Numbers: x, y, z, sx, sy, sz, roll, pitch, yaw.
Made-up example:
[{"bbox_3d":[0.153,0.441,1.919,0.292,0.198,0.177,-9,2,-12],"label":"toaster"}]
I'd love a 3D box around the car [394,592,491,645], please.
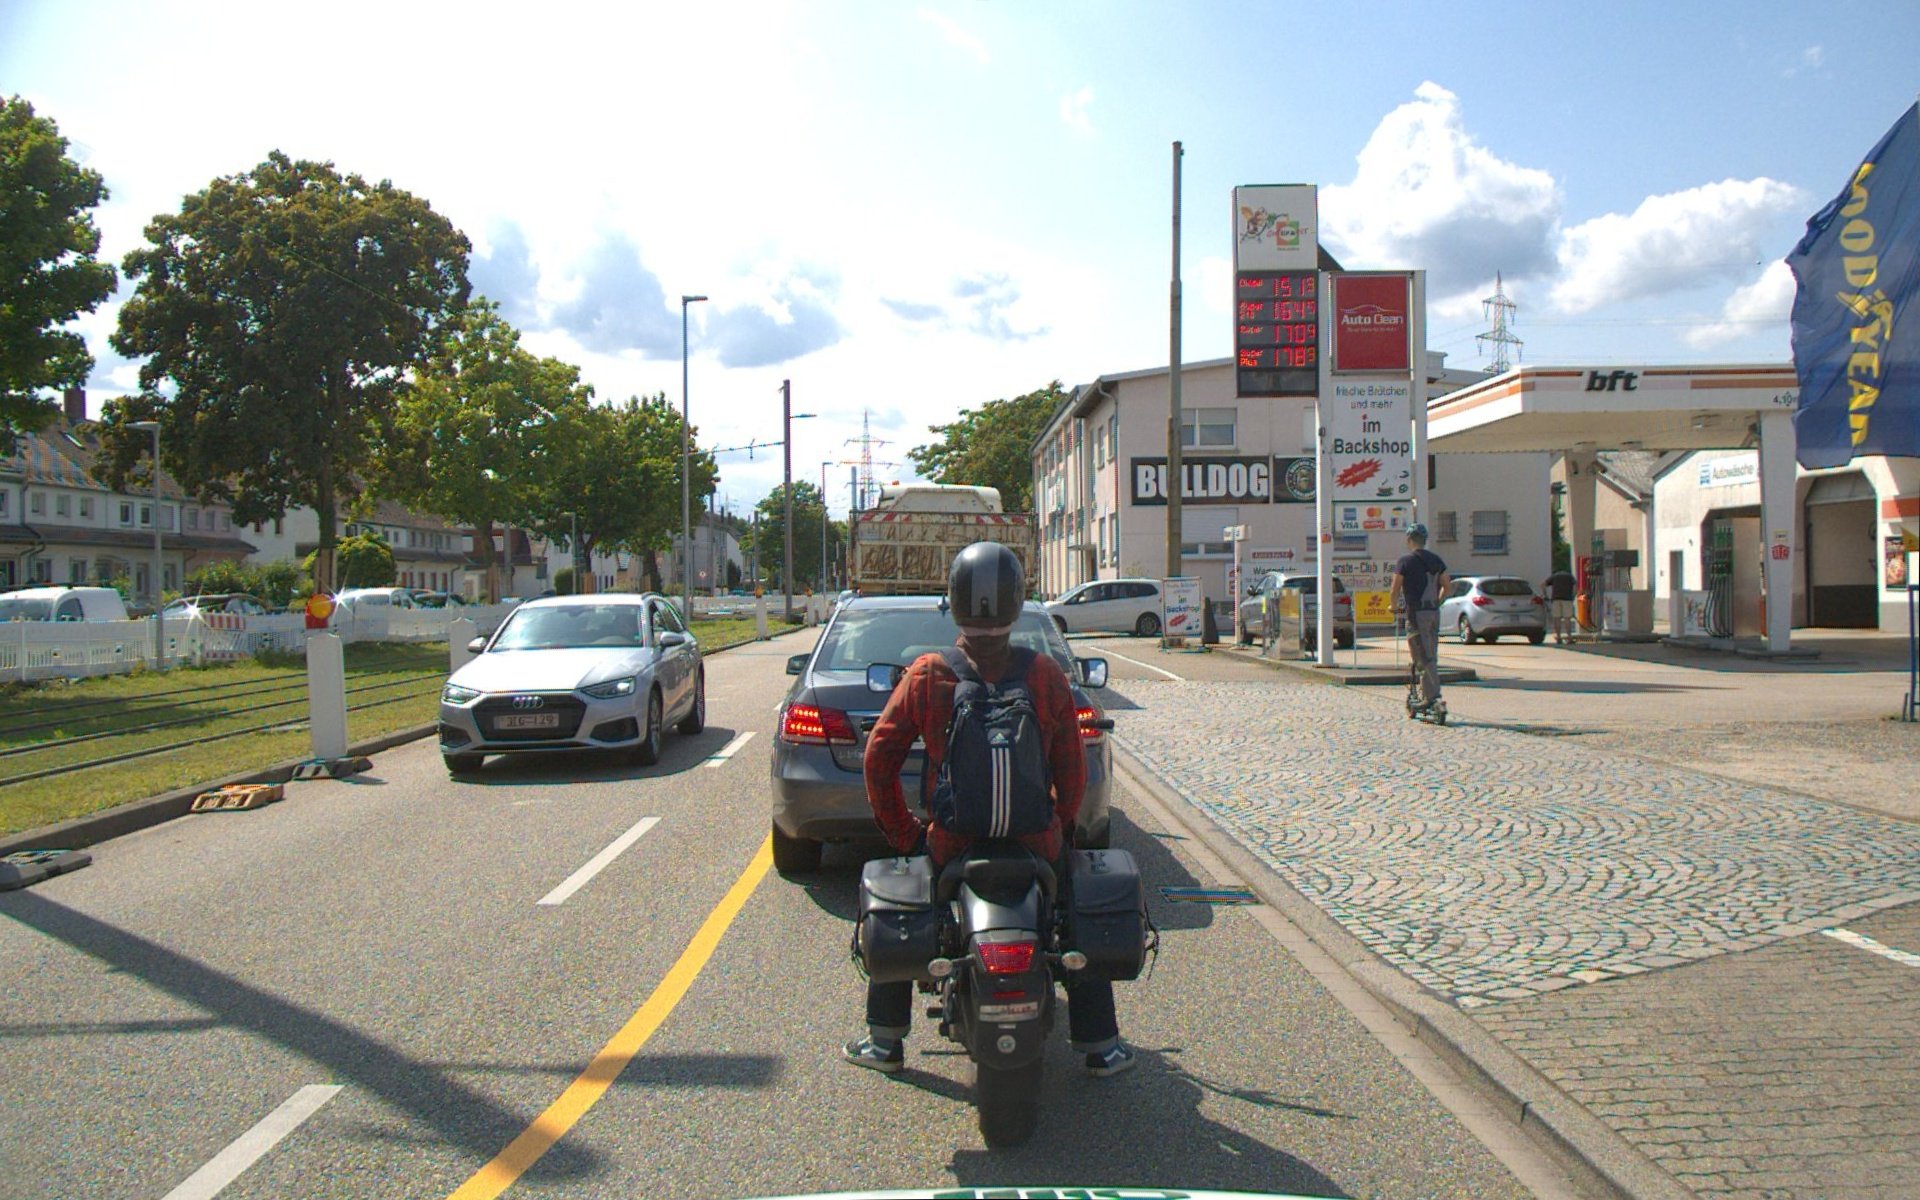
[{"bbox_3d":[-17.108,0.583,54.836,1.953,1.634,3.999,-2,0,-1],"label":"car"}]

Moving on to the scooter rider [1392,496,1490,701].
[{"bbox_3d":[4.820,-0.017,16.616,0.702,1.997,0.785,-1,0,-1],"label":"scooter rider"}]

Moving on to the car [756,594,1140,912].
[{"bbox_3d":[-0.084,0.705,9.706,1.784,1.449,3.999,0,0,-1],"label":"car"}]

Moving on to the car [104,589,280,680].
[{"bbox_3d":[-16.520,0.709,35.825,1.953,1.780,3.999,-2,0,-1],"label":"car"}]

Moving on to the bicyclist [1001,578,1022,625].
[{"bbox_3d":[1.974,0.061,63.277,0.657,1.774,0.814,-1,0,13],"label":"bicyclist"}]

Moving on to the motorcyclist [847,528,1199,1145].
[{"bbox_3d":[0.163,0.637,5.055,0.920,1.643,1.204,1,0,-1],"label":"motorcyclist"}]

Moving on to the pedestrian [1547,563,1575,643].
[{"bbox_3d":[13.025,0.063,35.840,0.388,1.718,0.485,-2,0,0],"label":"pedestrian"}]

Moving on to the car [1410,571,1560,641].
[{"bbox_3d":[11.798,0.142,37.446,1.920,1.445,3.997,-2,0,-3],"label":"car"}]

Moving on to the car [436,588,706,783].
[{"bbox_3d":[-3.416,0.660,15.275,1.622,1.472,4.301,-2,1,-3],"label":"car"}]

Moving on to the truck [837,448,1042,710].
[{"bbox_3d":[-0.284,-0.352,26.037,2.557,3.312,9.182,-2,1,0],"label":"truck"}]

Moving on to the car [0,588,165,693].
[{"bbox_3d":[-16.540,0.714,30.386,1.953,1.780,3.999,-2,0,-1],"label":"car"}]

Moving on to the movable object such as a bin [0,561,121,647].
[{"bbox_3d":[-27.807,0.112,49.857,4.277,2.492,1.776,-1,0,-23],"label":"movable object such as a bin"}]

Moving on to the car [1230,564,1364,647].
[{"bbox_3d":[7.388,0.127,36.644,1.920,1.677,3.997,-2,0,-3],"label":"car"}]

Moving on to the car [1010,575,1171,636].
[{"bbox_3d":[3.699,0.161,47.244,4.250,1.579,1.946,-2,0,-9],"label":"car"}]

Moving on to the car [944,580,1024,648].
[{"bbox_3d":[0.526,0.293,38.914,1.784,1.489,4.000,0,0,0],"label":"car"}]

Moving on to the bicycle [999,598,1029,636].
[{"bbox_3d":[2.086,0.655,63.435,0.678,1.385,2.420,-1,1,13],"label":"bicycle"}]

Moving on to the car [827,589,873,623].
[{"bbox_3d":[-4.866,0.278,73.824,1.809,1.411,4.343,-2,0,-1],"label":"car"}]

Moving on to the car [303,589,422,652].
[{"bbox_3d":[-16.980,0.563,47.193,1.953,1.634,3.999,-2,0,-1],"label":"car"}]

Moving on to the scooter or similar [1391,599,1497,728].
[{"bbox_3d":[4.814,0.607,16.548,0.529,1.216,1.610,-1,0,-1],"label":"scooter or similar"}]

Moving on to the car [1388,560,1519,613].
[{"bbox_3d":[17.033,-0.466,57.197,3.906,1.677,1.965,-2,0,-2],"label":"car"}]

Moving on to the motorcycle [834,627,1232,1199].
[{"bbox_3d":[0.154,0.792,5.236,0.920,1.343,2.644,1,0,-1],"label":"motorcycle"}]

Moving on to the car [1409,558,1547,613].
[{"bbox_3d":[17.079,-0.466,54.652,3.906,1.677,1.965,-2,0,-2],"label":"car"}]
